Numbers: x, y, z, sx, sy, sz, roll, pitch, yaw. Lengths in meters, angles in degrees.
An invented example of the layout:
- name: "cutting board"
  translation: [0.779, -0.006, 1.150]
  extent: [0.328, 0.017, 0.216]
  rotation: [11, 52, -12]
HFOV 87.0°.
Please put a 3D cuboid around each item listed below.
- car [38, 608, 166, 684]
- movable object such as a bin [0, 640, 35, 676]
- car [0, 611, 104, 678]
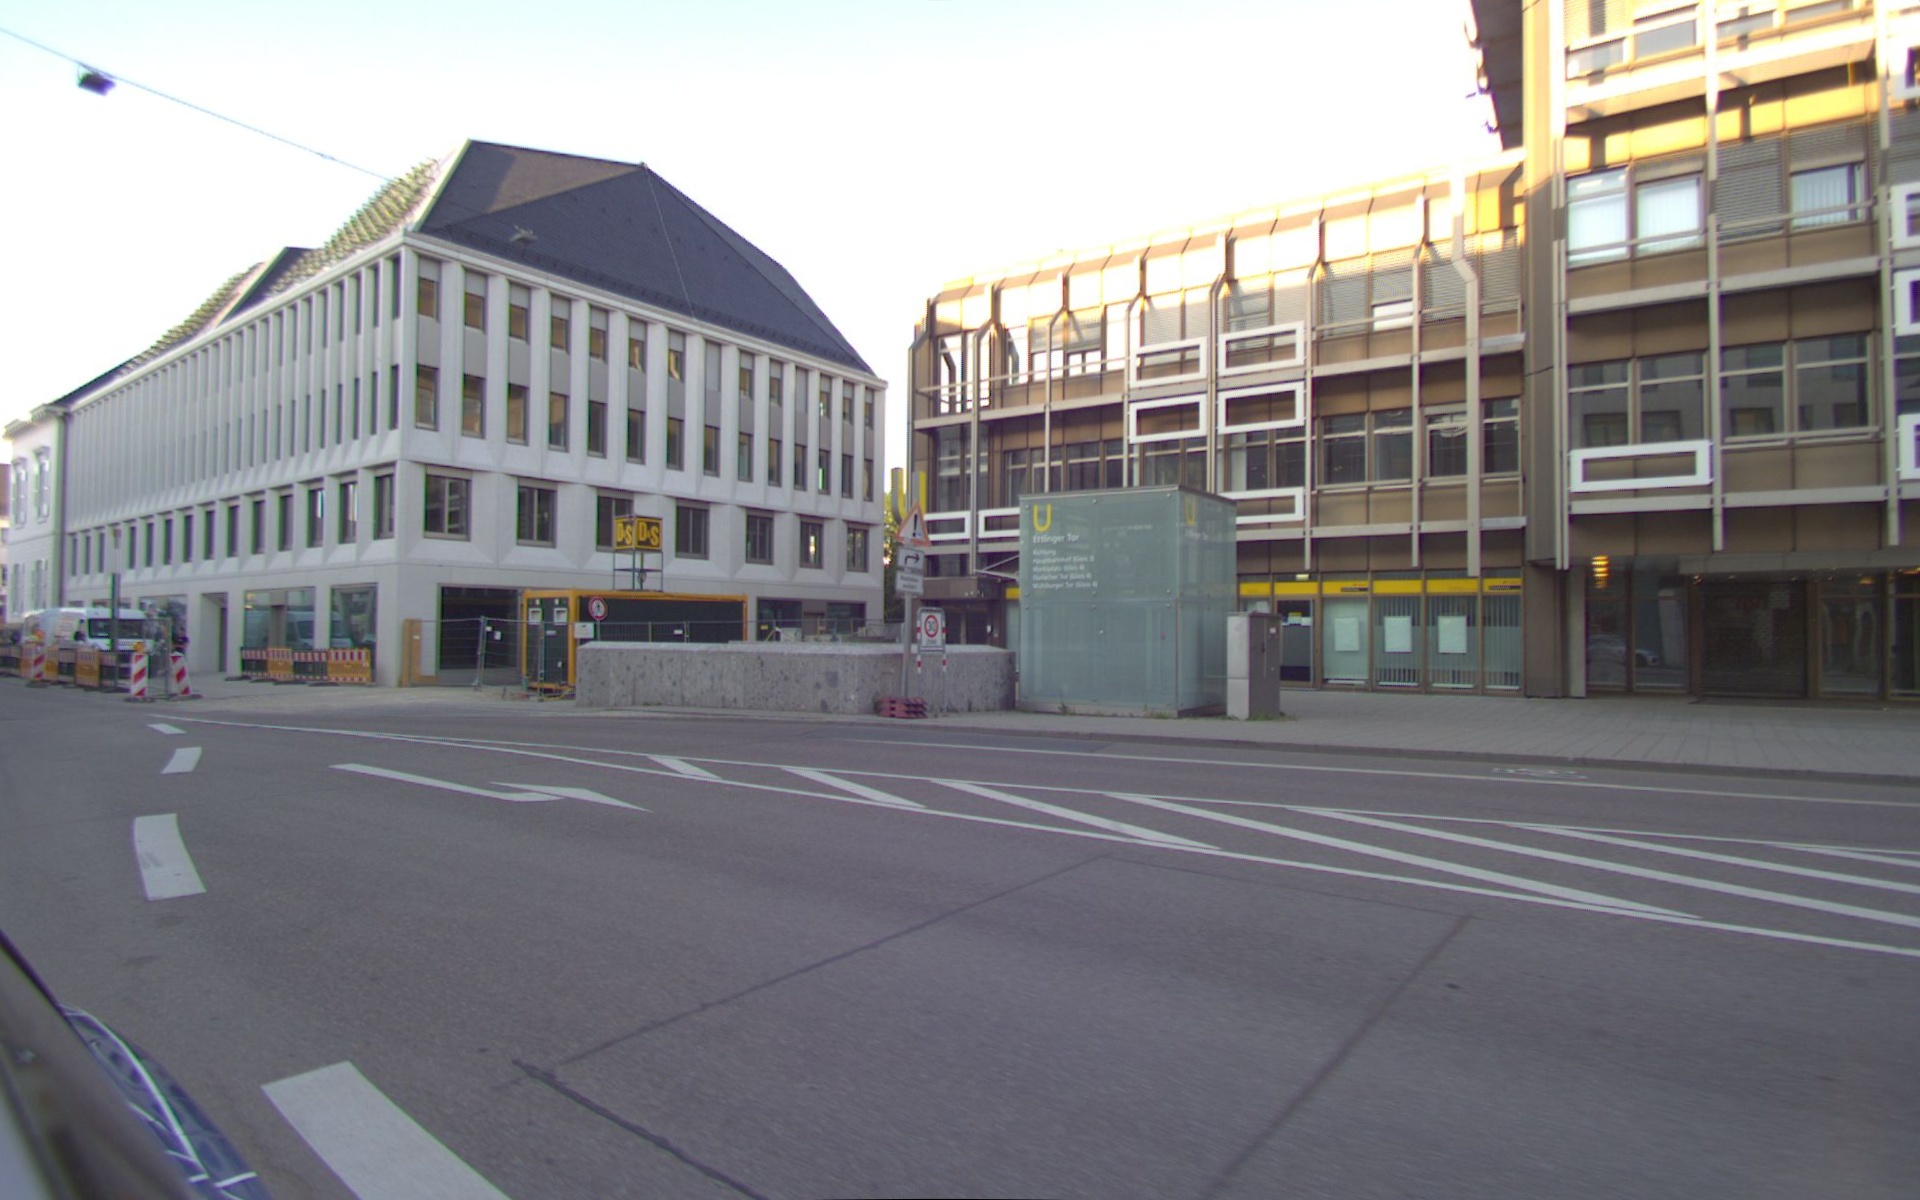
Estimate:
- name: "car"
  translation: [-30.583, 1.605, 36.001]
  extent: [5.988, 2.489, 2.153]
  rotation: [-1, -2, 37]
- name: "movable object such as a bin"
  translation: [-40.010, 2.412, 42.646]
  extent: [1.386, 1.477, 1.038]
  rotation: [-1, -2, 25]
- name: "car"
  translation: [-36.507, 1.735, 40.501]
  extent: [5.989, 2.489, 2.153]
  rotation: [-1, -2, 37]
